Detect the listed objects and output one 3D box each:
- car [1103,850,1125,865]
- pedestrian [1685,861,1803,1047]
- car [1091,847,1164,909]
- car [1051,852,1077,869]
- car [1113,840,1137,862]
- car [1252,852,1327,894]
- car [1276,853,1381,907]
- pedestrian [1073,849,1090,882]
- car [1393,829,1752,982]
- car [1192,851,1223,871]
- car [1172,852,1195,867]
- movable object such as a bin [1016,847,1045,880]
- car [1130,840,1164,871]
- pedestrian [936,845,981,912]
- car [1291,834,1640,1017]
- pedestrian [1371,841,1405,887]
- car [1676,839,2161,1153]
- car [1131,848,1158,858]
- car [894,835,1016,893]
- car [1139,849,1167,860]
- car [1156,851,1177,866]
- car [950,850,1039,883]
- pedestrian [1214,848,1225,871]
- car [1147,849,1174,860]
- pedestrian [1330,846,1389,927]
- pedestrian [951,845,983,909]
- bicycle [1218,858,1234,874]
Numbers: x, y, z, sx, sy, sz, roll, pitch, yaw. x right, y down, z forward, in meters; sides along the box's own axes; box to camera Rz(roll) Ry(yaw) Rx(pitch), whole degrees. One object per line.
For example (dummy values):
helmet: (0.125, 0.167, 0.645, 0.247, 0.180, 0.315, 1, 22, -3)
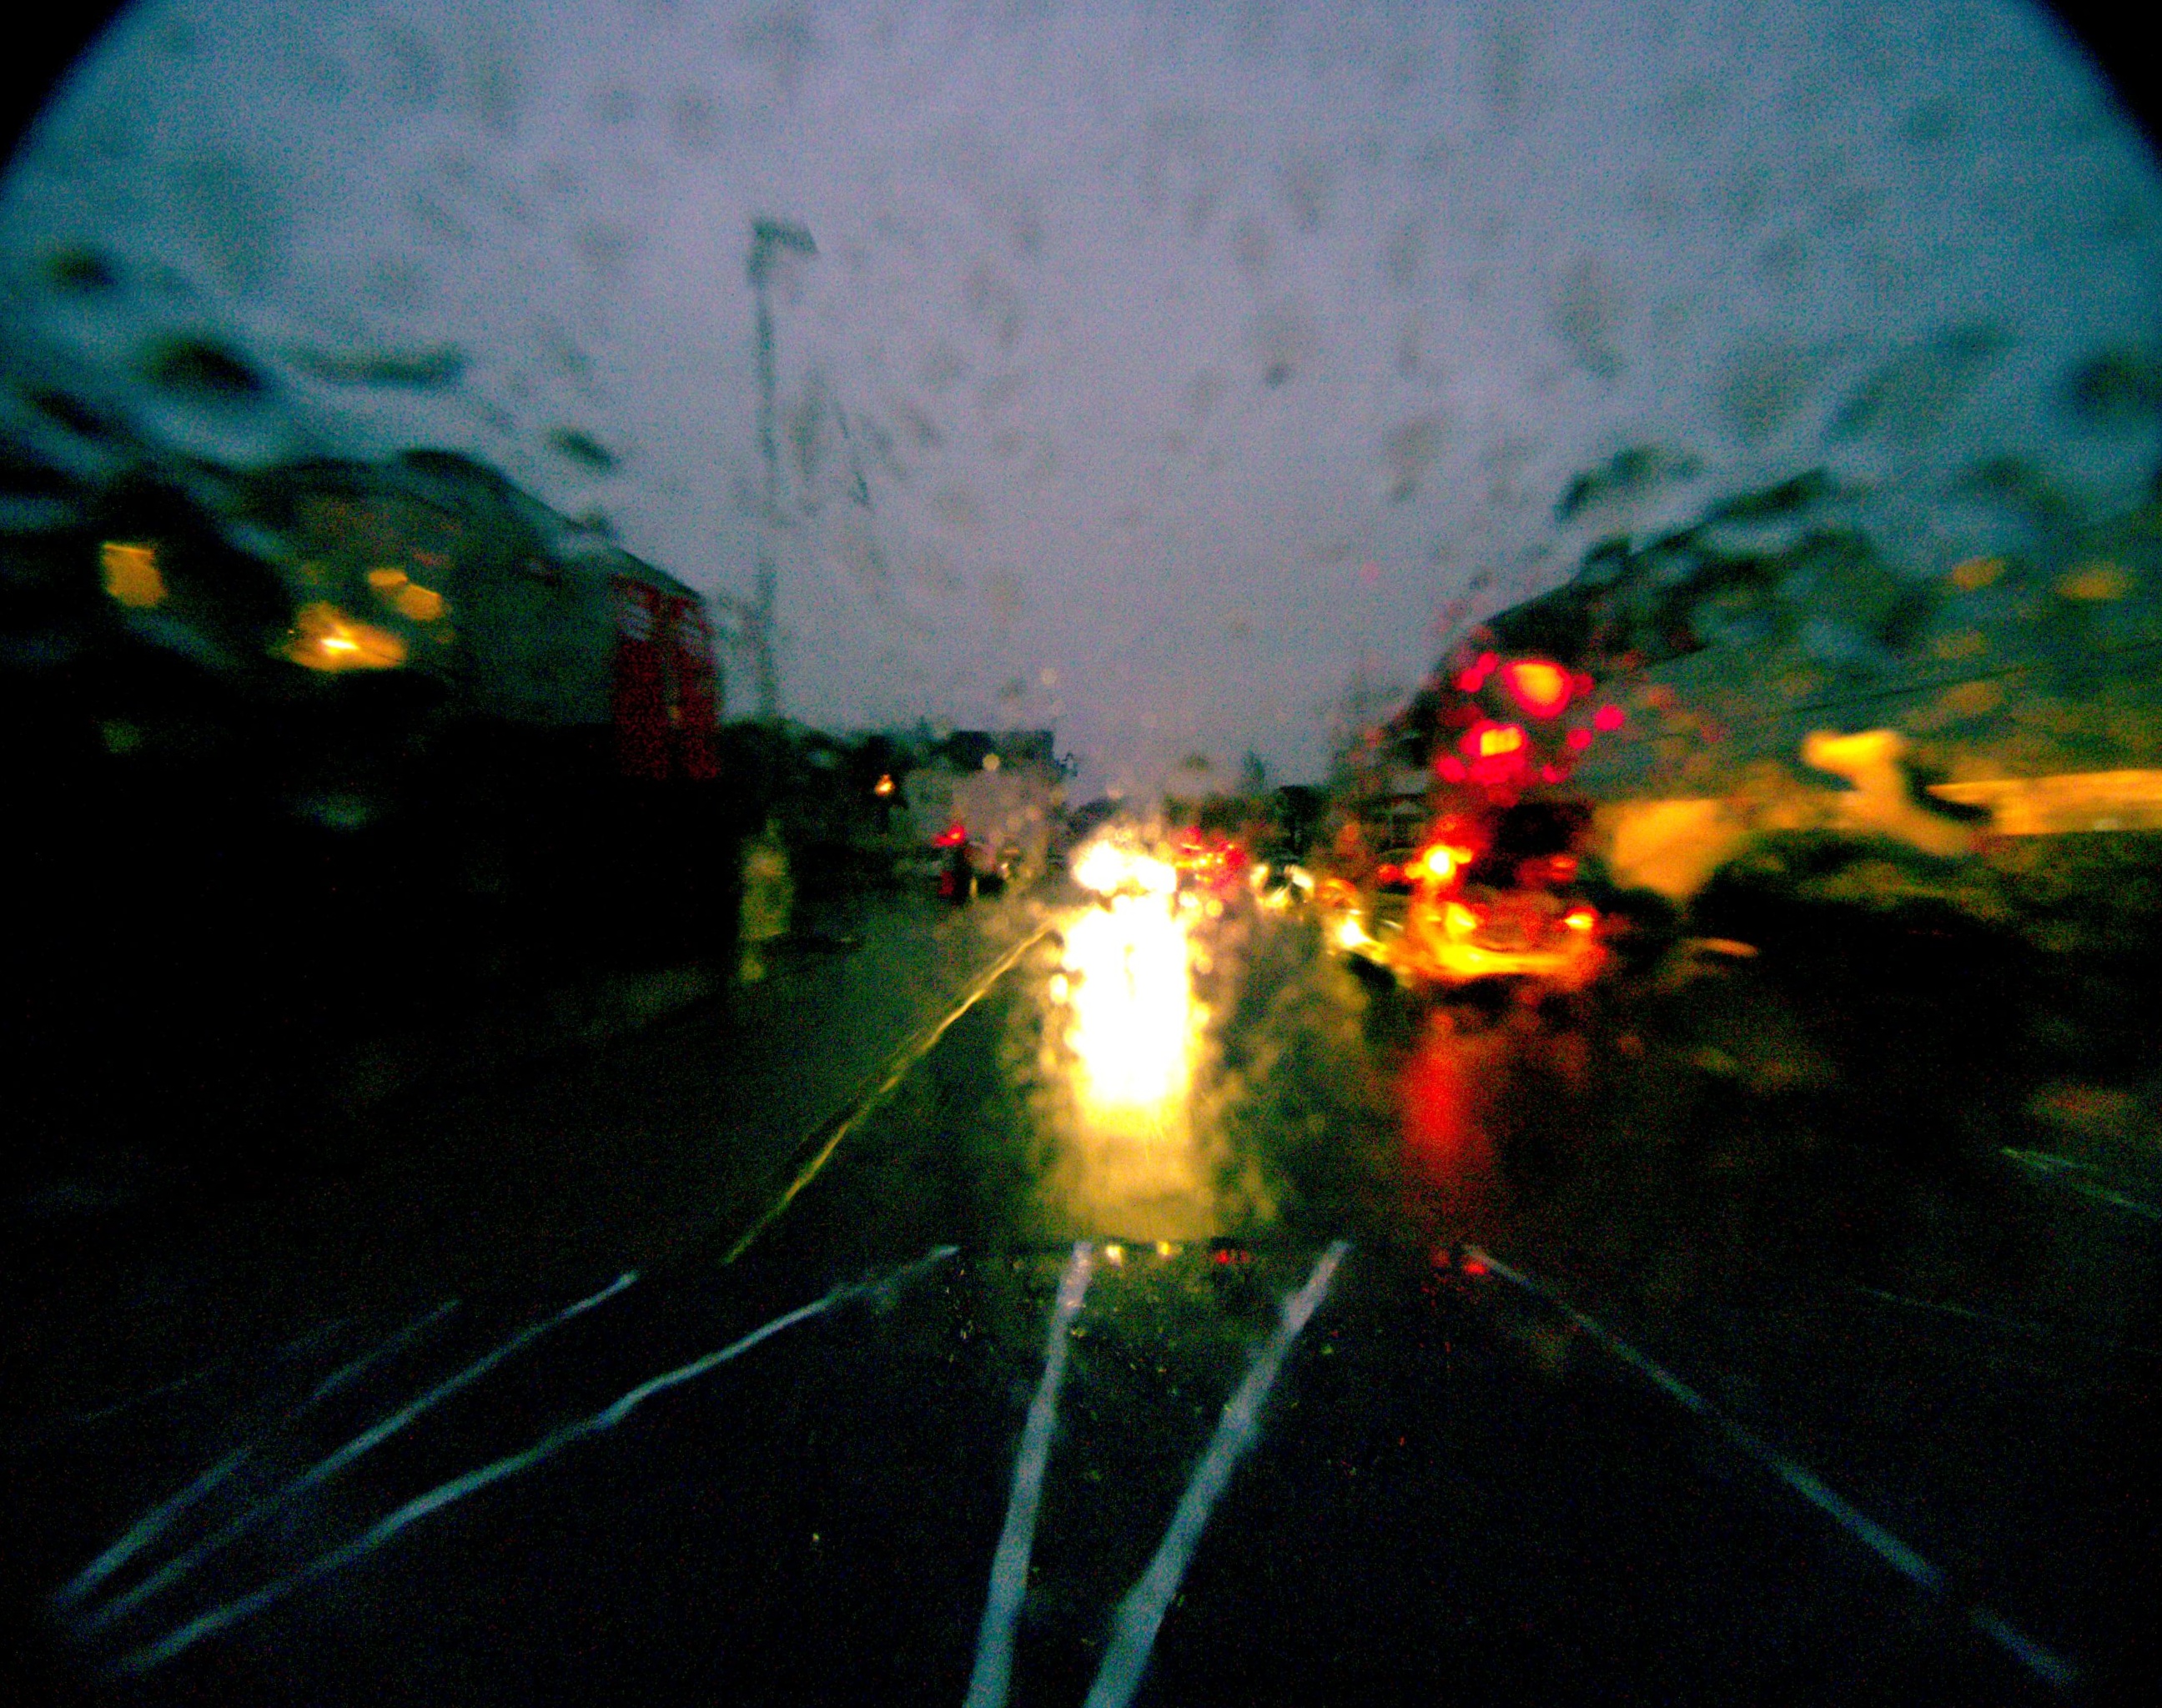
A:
car: (3.647, 0.366, 85.116, 1.999, 1.506, 3.998, -1, 1, -3)
pedestrian: (5.845, 0.850, 6.723, 0.529, 1.576, 0.576, 0, 0, 0)
car: (1.359, 0.676, 23.637, 1.998, 1.720, 3.999, -1, 1, 0)
car: (-1.630, 0.653, 73.820, 1.934, 1.476, 4.699, -2, -1, 6)
car: (3.800, -0.266, 65.331, 1.998, 1.844, 4.000, -1, 1, 3)
car: (8.504, 0.726, 31.393, 1.998, 1.549, 4.621, -1, 0, 3)
car: (7.875, 0.764, 24.714, 1.998, 1.514, 4.978, -1, 1, 3)
pedestrian: (0.021, 0.666, 44.753, 0.969, 1.878, 1.006, -1, 1, 0)
car: (6.894, 0.613, 11.555, 2.091, 1.781, 5.023, -1, 0, -2)
car: (10.092, 0.534, 61.035, 1.789, 1.480, 4.182, -1, 1, 0)
car: (9.734, 0.507, 72.397, 1.698, 1.423, 4.377, -1, 0, 1)
movable object such as a bin: (-2.606, 0.480, 39.526, 1.396, 1.634, 1.261, 2, 1, 0)
car: (4.467, 0.061, 51.892, 1.998, 2.002, 4.000, -1, 1, 1)
pedestrian: (-3.178, 0.621, 19.775, 0.837, 1.695, 0.846, 2, 1, 14)
car: (4.424, 0.732, 9.877, 1.998, 1.695, 4.967, -3, -1, 1)
pedestrian: (11.456, 0.369, 28.368, 0.828, 1.649, 1.097, -2, 1, 1)
car: (6.937, 0.767, 5.364, 1.885, 1.700, 4.712, -1, 1, 2)
car: (9.705, -0.151, 115.876, 3.995, 1.291, 2.001, -1, 1, 5)
car: (-4.761, 0.357, 29.035, 4.097, 2.038, 2.002, 2, 1, 11)
car: (10.752, 0.089, 112.919, 3.994, 1.538, 2.001, -1, 1, 10)
car: (9.561, 0.466, 85.351, 1.840, 1.526, 4.138, -1, 1, 0)
car: (-4.173, 0.573, 37.083, 3.995, 1.478, 1.913, 1, 2, 5)
pedestrian: (12.181, 0.475, 66.787, 0.902, 2.002, 0.791, 0, 1, 10)
car: (11.512, 0.053, 110.288, 3.839, 1.537, 2.001, -1, 1, 8)
pedestrian: (6.664, 0.746, 18.192, 1.010, 1.865, 0.945, 0, 1, 44)
pedestrian: (-3.076, 0.610, 20.605, 0.705, 1.695, 0.915, 1, 1, -1)
bicycle: (9.899, 0.838, 51.813, 0.325, 1.055, 1.743, 4, -2, -14)
